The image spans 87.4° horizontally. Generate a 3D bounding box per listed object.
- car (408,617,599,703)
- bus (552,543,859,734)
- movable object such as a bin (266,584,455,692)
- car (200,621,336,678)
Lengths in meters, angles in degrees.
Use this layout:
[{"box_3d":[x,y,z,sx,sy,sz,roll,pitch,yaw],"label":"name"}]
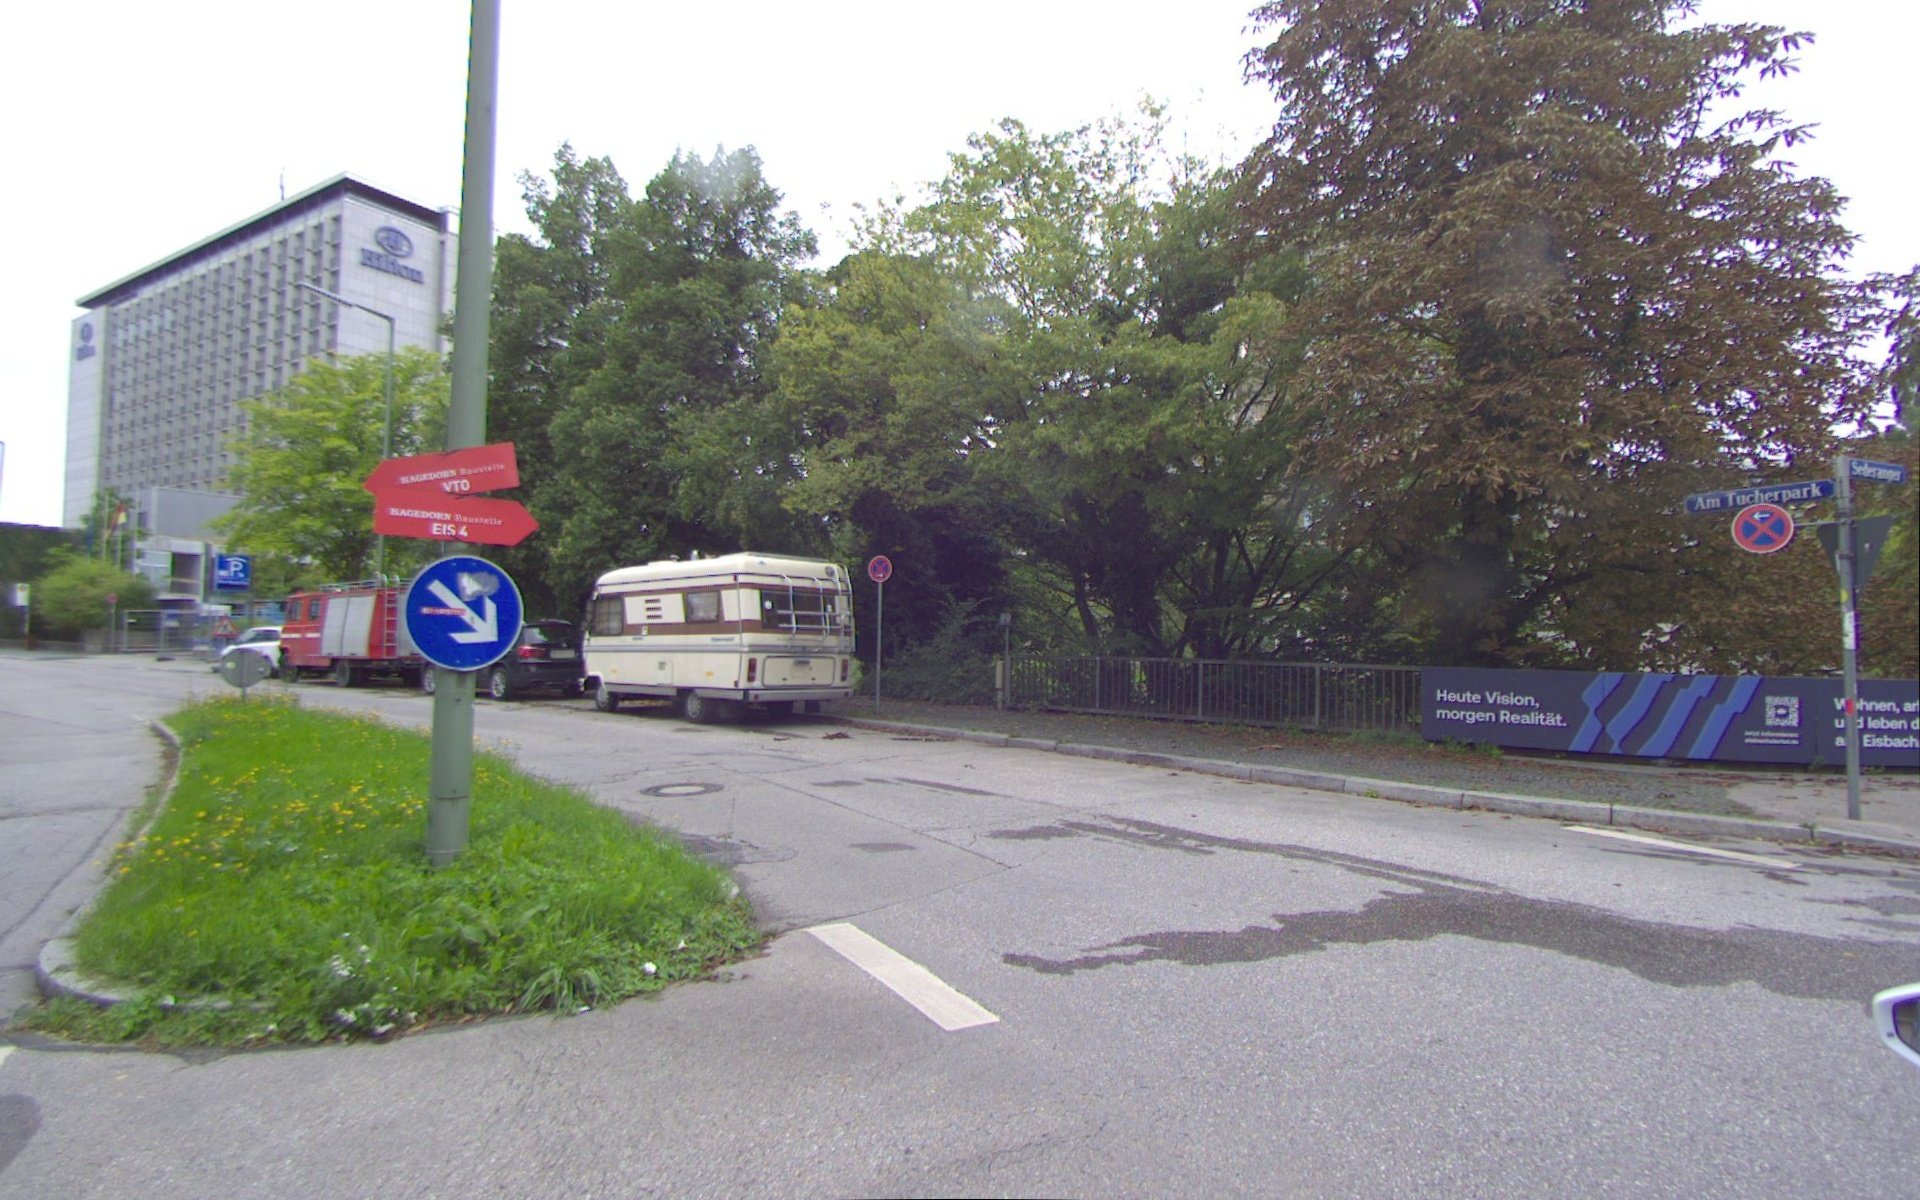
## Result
[{"box_3d":[-9.900,1.235,21.680,4.387,1.671,1.776,0,-3,36],"label":"car"},{"box_3d":[-4.509,0.638,17.170,5.652,2.734,2.310,-1,-3,42],"label":"bus"},{"box_3d":[-15.473,0.949,25.769,6.091,2.490,2.102,-1,-3,39],"label":"movable object such as a bin"},{"box_3d":[-20.945,1.465,30.368,4.182,1.570,1.778,0,-3,31],"label":"car"}]
